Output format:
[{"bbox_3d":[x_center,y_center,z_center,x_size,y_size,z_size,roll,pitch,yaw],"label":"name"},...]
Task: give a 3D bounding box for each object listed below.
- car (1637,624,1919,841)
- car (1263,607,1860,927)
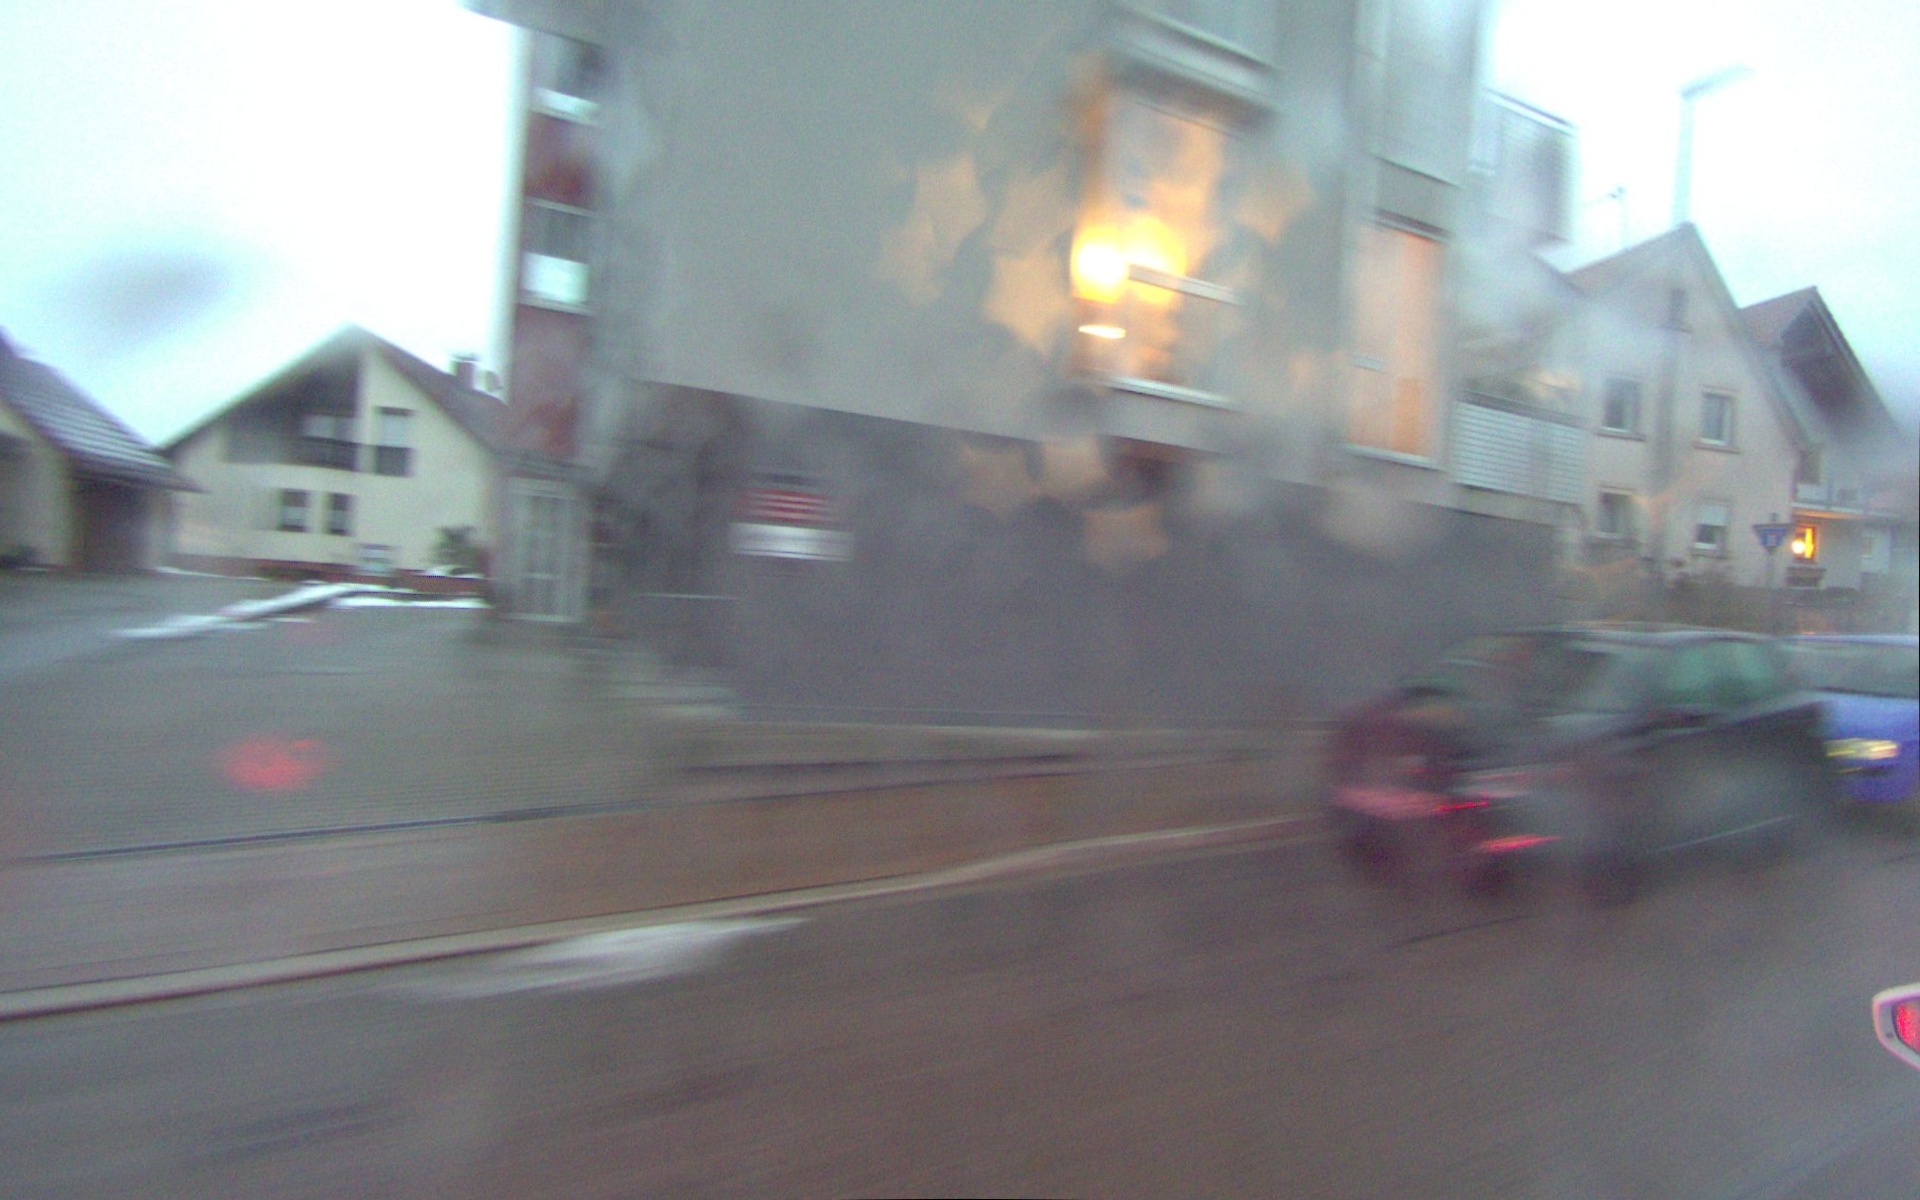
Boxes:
[{"bbox_3d":[7.663,0.948,8.568,3.869,1.428,1.659,1,0,-31],"label":"car"},{"bbox_3d":[3.861,0.836,6.357,3.648,1.437,1.656,2,1,-30],"label":"car"}]
